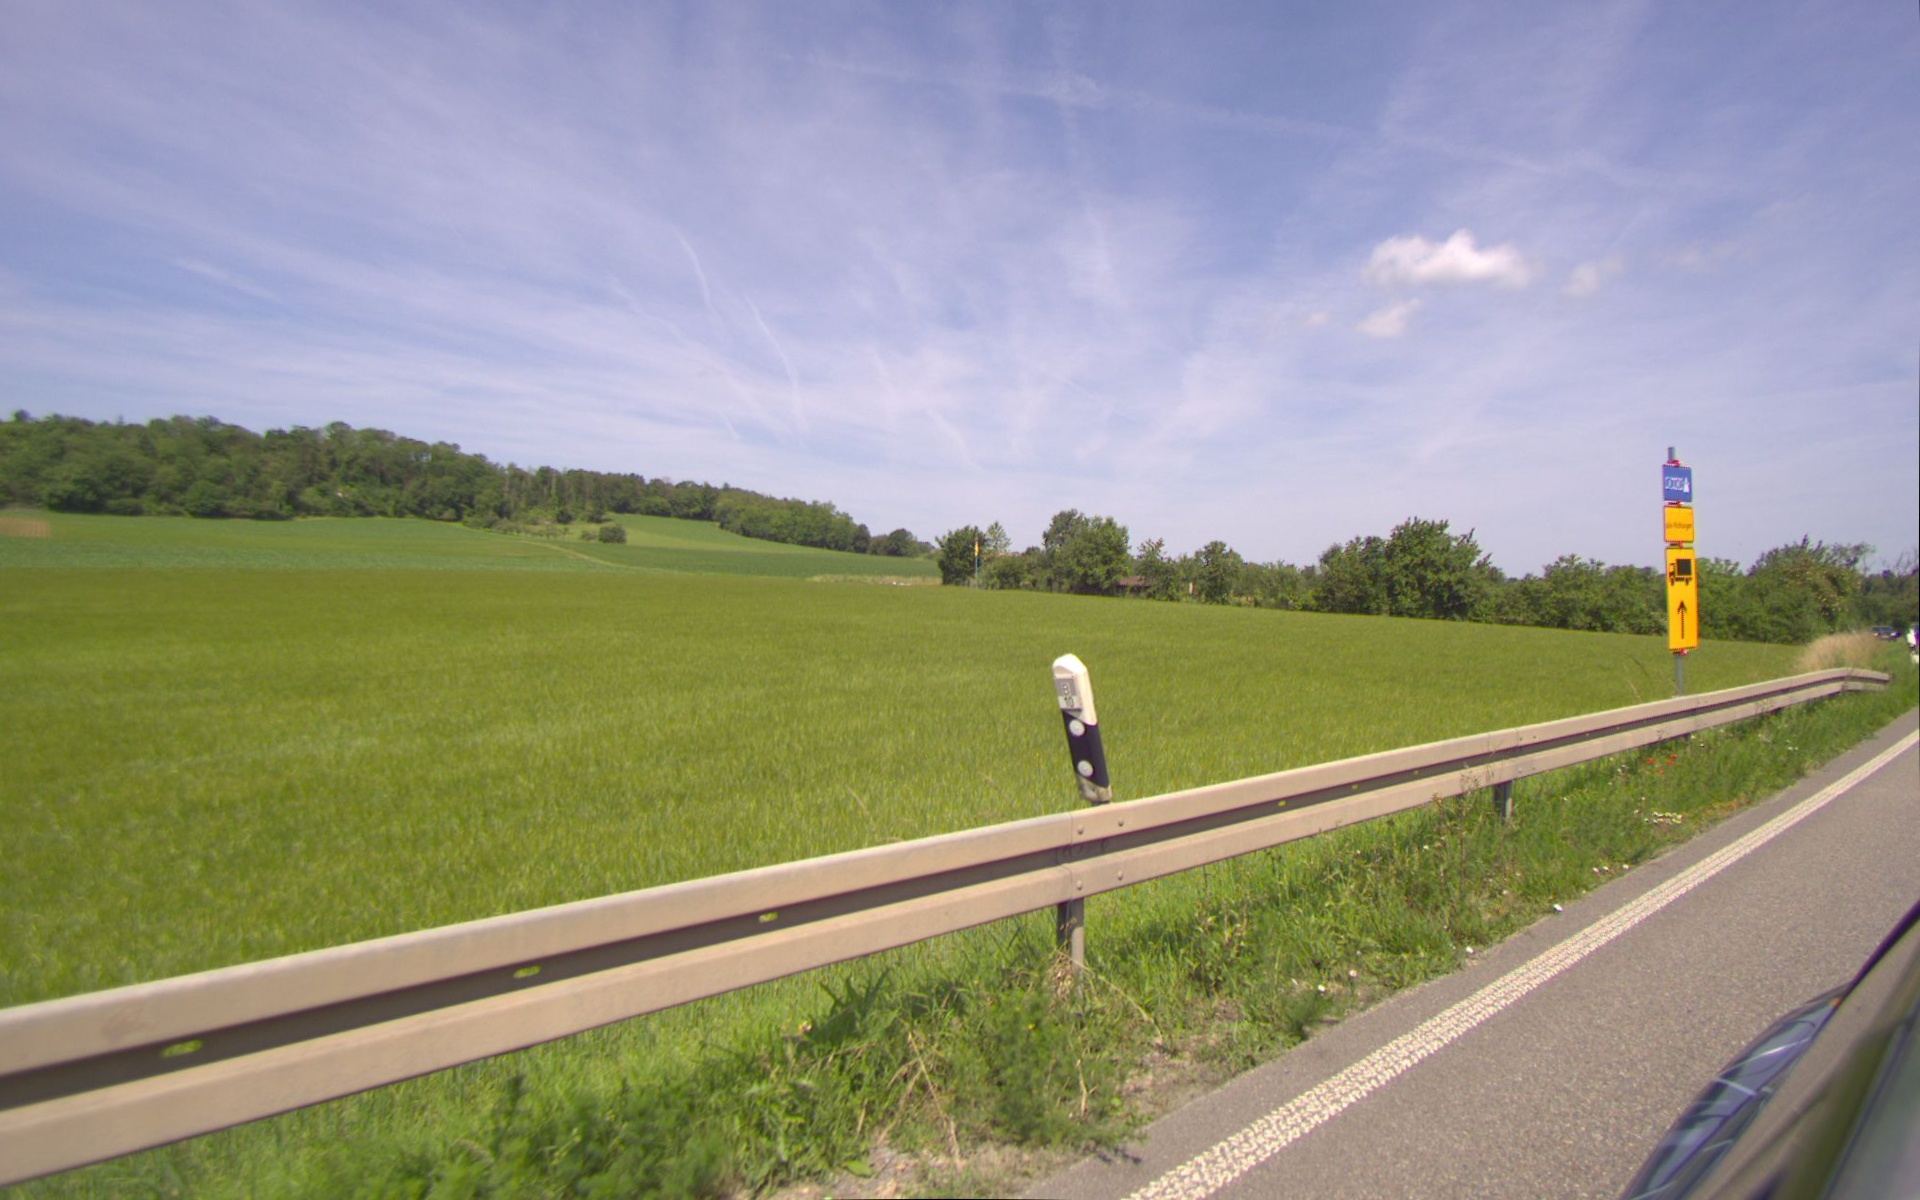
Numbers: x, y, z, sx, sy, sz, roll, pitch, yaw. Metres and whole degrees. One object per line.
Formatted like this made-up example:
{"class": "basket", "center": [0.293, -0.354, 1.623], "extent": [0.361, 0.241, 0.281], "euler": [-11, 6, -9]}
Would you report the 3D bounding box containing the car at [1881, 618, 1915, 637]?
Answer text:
{"class": "car", "center": [83.490, 2.435, 90.085], "extent": [1.921, 1.468, 3.944], "euler": [2, 1, 39]}
